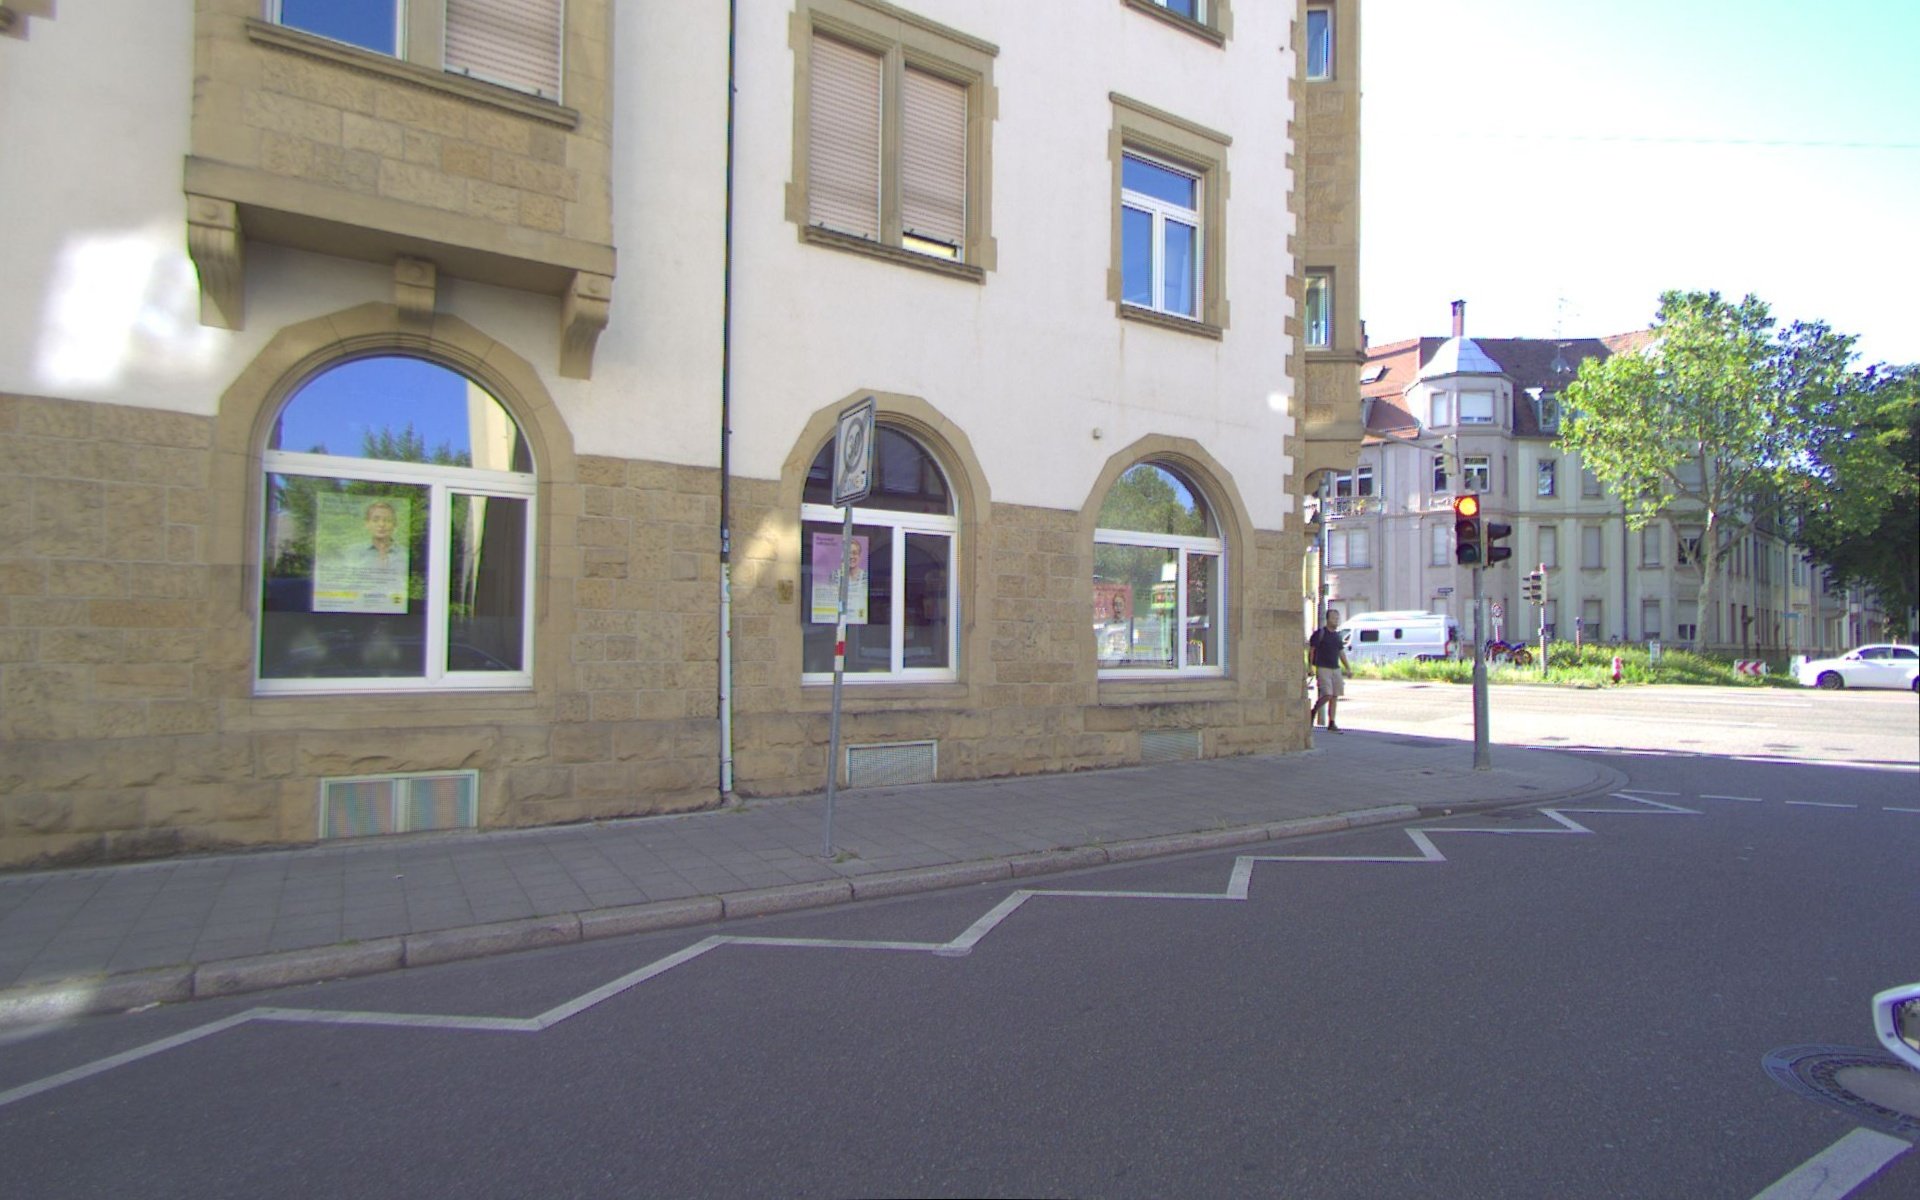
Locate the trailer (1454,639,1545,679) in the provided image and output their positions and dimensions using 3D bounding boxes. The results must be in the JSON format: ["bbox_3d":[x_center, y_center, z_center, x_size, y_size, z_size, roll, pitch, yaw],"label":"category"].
[{"bbox_3d":[21.268,2.312,39.646,2.914,1.476,1.506,-1,-2,42],"label":"trailer"}]

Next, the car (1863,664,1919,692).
[{"bbox_3d":[53.721,4.447,57.030,1.647,1.476,3.595,2,-2,-44],"label":"car"}]

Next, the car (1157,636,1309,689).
[{"bbox_3d":[8.202,1.830,30.441,4.155,1.476,1.669,-2,-2,42],"label":"car"}]

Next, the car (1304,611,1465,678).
[{"bbox_3d":[17.942,1.839,42.717,6.040,2.672,1.886,-1,-2,42],"label":"car"}]

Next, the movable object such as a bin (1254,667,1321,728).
[{"bbox_3d":[5.111,1.508,15.707,0.506,0.904,0.854,2,-3,-42],"label":"movable object such as a bin"}]

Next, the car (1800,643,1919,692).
[{"bbox_3d":[29.409,2.136,32.345,3.589,1.476,1.496,-1,-2,41],"label":"car"}]

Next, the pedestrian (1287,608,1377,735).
[{"bbox_3d":[5.689,1.092,15.374,0.743,1.872,1.056,6,-5,-42],"label":"pedestrian"}]
